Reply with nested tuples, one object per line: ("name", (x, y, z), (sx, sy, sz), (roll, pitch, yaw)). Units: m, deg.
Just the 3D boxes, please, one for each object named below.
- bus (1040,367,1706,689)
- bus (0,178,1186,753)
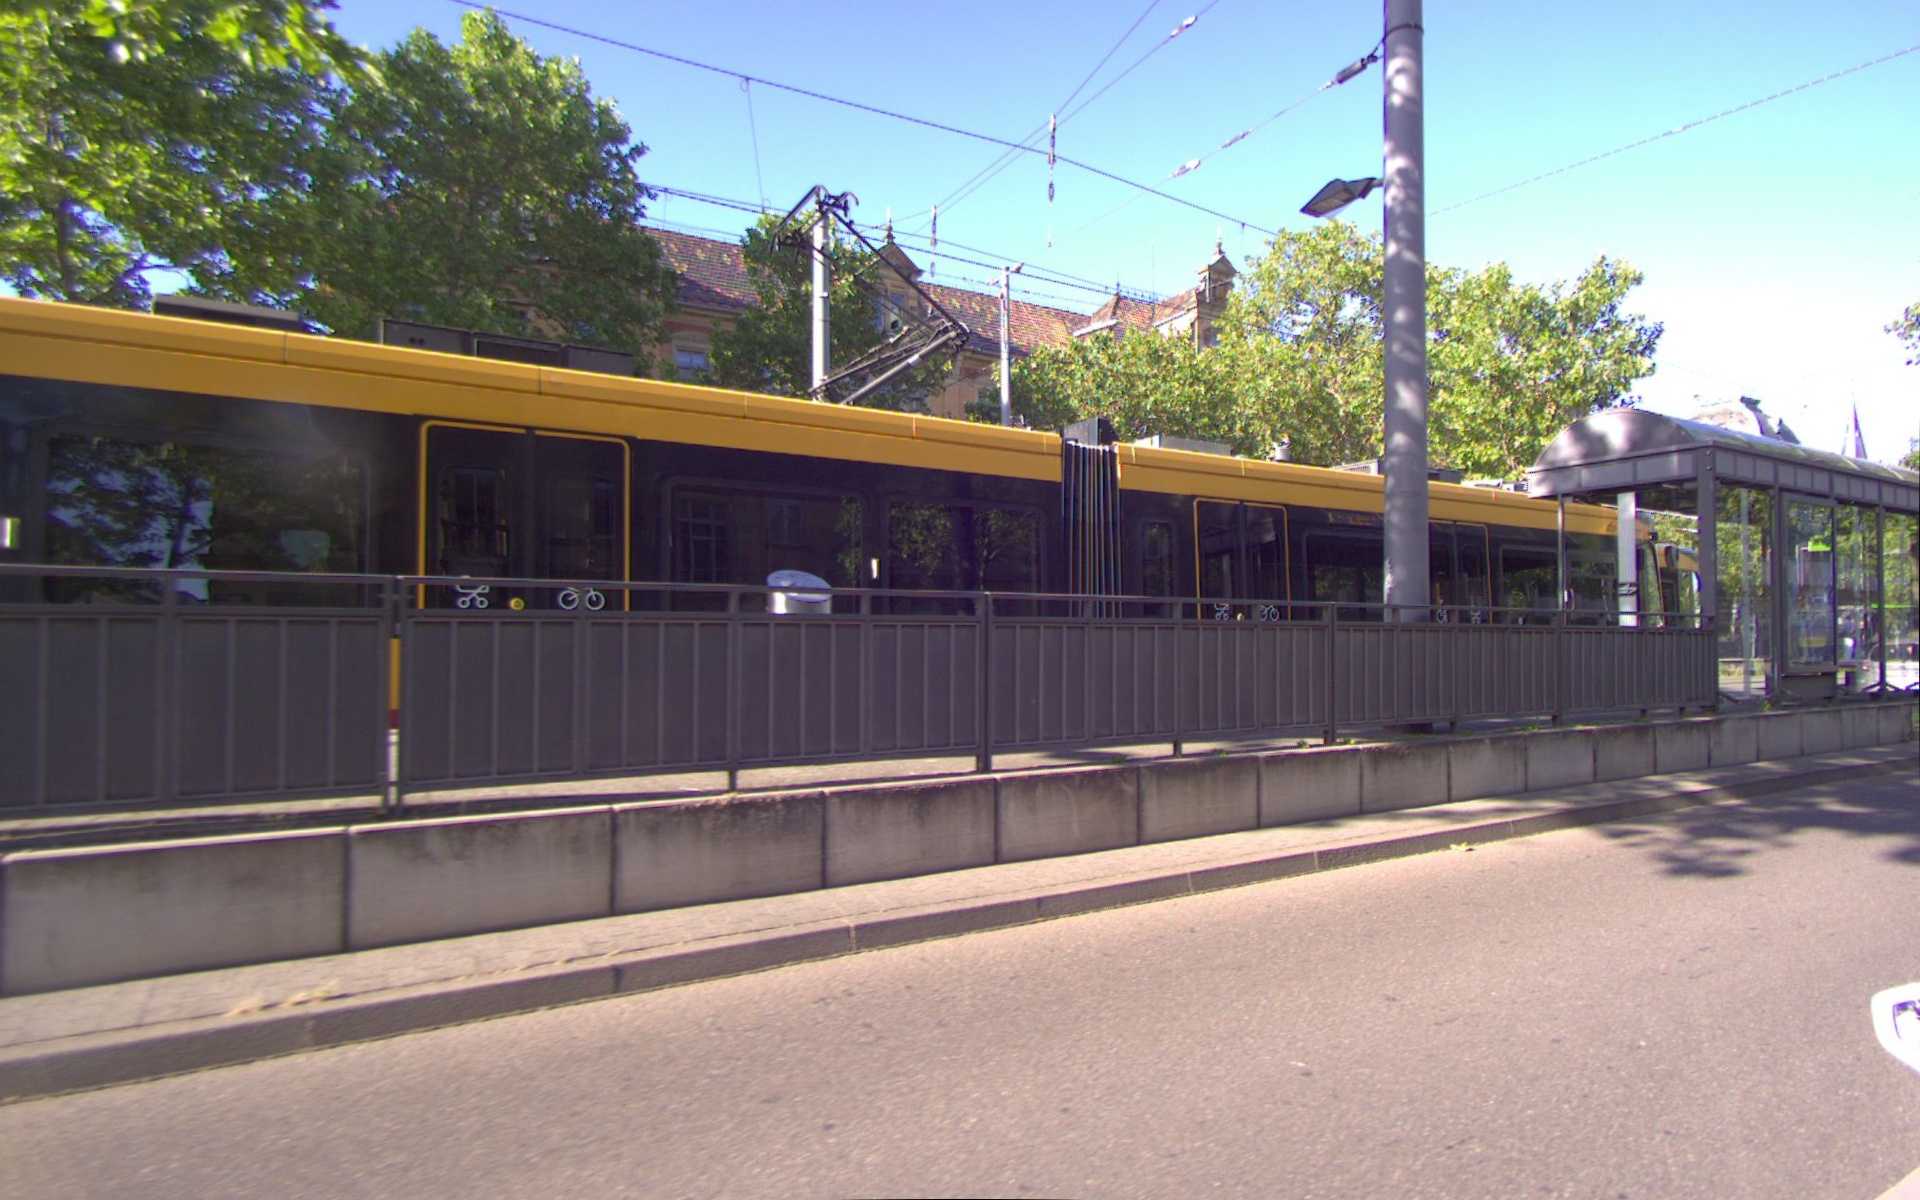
("bus", (6.718, -0.708, 15.026), (11.473, 3.490, 2.856), (1, -1, -30))
("bus", (-3.467, -0.764, 9.105), (12.069, 3.490, 2.856), (1, -1, -30))
